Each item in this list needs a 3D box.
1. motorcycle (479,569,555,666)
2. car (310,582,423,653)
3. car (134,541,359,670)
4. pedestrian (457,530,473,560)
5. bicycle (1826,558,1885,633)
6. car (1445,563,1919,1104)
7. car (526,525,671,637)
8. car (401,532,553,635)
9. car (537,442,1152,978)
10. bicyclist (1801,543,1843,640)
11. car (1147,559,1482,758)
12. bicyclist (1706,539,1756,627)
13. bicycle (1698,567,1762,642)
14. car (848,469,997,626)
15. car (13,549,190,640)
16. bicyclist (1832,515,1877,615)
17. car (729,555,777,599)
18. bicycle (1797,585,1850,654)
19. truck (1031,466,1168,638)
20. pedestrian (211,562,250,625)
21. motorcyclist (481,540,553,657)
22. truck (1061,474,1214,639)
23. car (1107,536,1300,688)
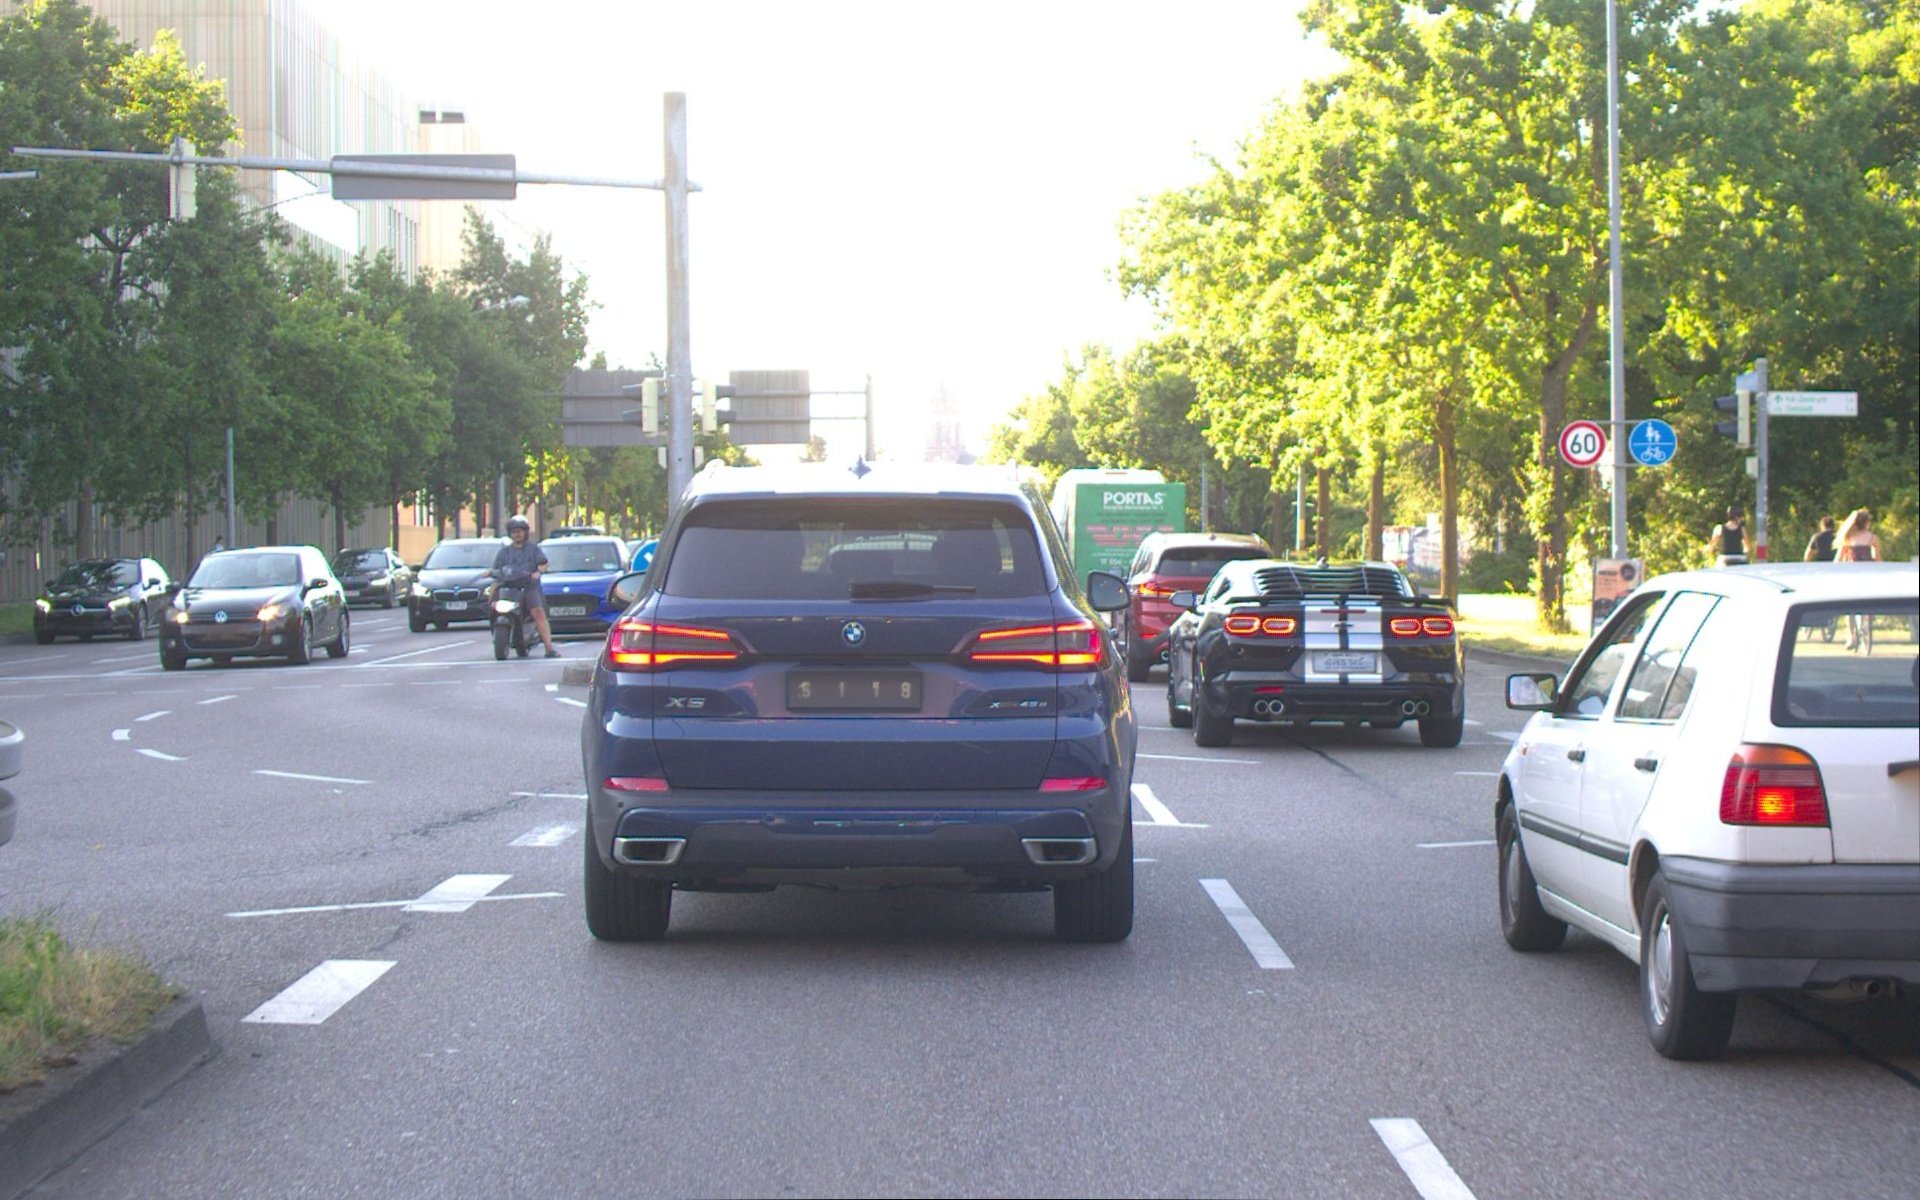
[{"bbox_3d":[-5.314,0.188,41.305,0.839,1.072,2.401,-2,1,-7],"label":"motorcycle"},{"bbox_3d":[-14.586,0.409,84.661,1.993,1.586,4.715,-4,0,-1],"label":"car"},{"bbox_3d":[-8.812,0.063,42.766,1.993,1.470,4.081,2,0,-1],"label":"car"},{"bbox_3d":[-25.041,-2.778,173.815,0.627,1.516,0.718,1,0,3],"label":"pedestrian"},{"bbox_3d":[11.094,-0.057,42.595,0.437,0.911,1.026,-2,0,0],"label":"bicycle"},{"bbox_3d":[2.690,0.623,11.065,1.578,1.408,4.062,1,0,-1],"label":"car"},{"bbox_3d":[-5.187,-0.268,49.711,1.702,1.447,3.858,-4,0,-2],"label":"car"},{"bbox_3d":[-8.328,-0.278,59.640,1.993,1.586,4.715,-4,0,-1],"label":"car"},{"bbox_3d":[-0.388,0.363,13.624,1.993,1.728,4.533,1,0,0],"label":"car"},{"bbox_3d":[11.675,-0.117,46.558,0.427,1.304,0.460,1,0,0],"label":"bicyclist"},{"bbox_3d":[2.492,0.394,25.092,1.993,1.290,4.000,1,0,0],"label":"car"},{"bbox_3d":[11.653,-0.259,51.982,0.543,1.311,0.835,1,0,0],"label":"bicyclist"},{"bbox_3d":[11.641,0.063,51.998,0.564,1.108,1.622,1,0,0],"label":"bicycle"},{"bbox_3d":[-0.708,-0.886,59.870,2.136,2.567,5.088,1,0,-5],"label":"car"},{"bbox_3d":[-14.787,-0.092,59.440,1.993,1.396,4.349,-4,0,-1],"label":"car"},{"bbox_3d":[11.102,-0.435,42.679,0.427,1.229,0.460,0,0,0],"label":"bicyclist"},{"bbox_3d":[-8.931,-0.996,148.611,1.756,1.771,4.494,-4,0,-1],"label":"car"},{"bbox_3d":[11.676,0.259,46.521,0.437,0.911,1.026,1,0,0],"label":"bicycle"},{"bbox_3d":[2.222,-0.752,55.907,1.996,2.659,4.000,1,0,0],"label":"truck"},{"bbox_3d":[-23.546,-0.195,111.021,1.018,2.007,0.961,1,0,0],"label":"pedestrian"},{"bbox_3d":[-5.327,-0.028,41.380,0.797,1.345,1.275,-2,2,-7],"label":"motorcyclist"},{"bbox_3d":[2.597,-0.622,51.181,1.996,2.307,4.000,1,0,0],"label":"truck"},{"bbox_3d":[2.624,0.125,37.837,1.796,1.553,4.000,1,0,0],"label":"car"}]
